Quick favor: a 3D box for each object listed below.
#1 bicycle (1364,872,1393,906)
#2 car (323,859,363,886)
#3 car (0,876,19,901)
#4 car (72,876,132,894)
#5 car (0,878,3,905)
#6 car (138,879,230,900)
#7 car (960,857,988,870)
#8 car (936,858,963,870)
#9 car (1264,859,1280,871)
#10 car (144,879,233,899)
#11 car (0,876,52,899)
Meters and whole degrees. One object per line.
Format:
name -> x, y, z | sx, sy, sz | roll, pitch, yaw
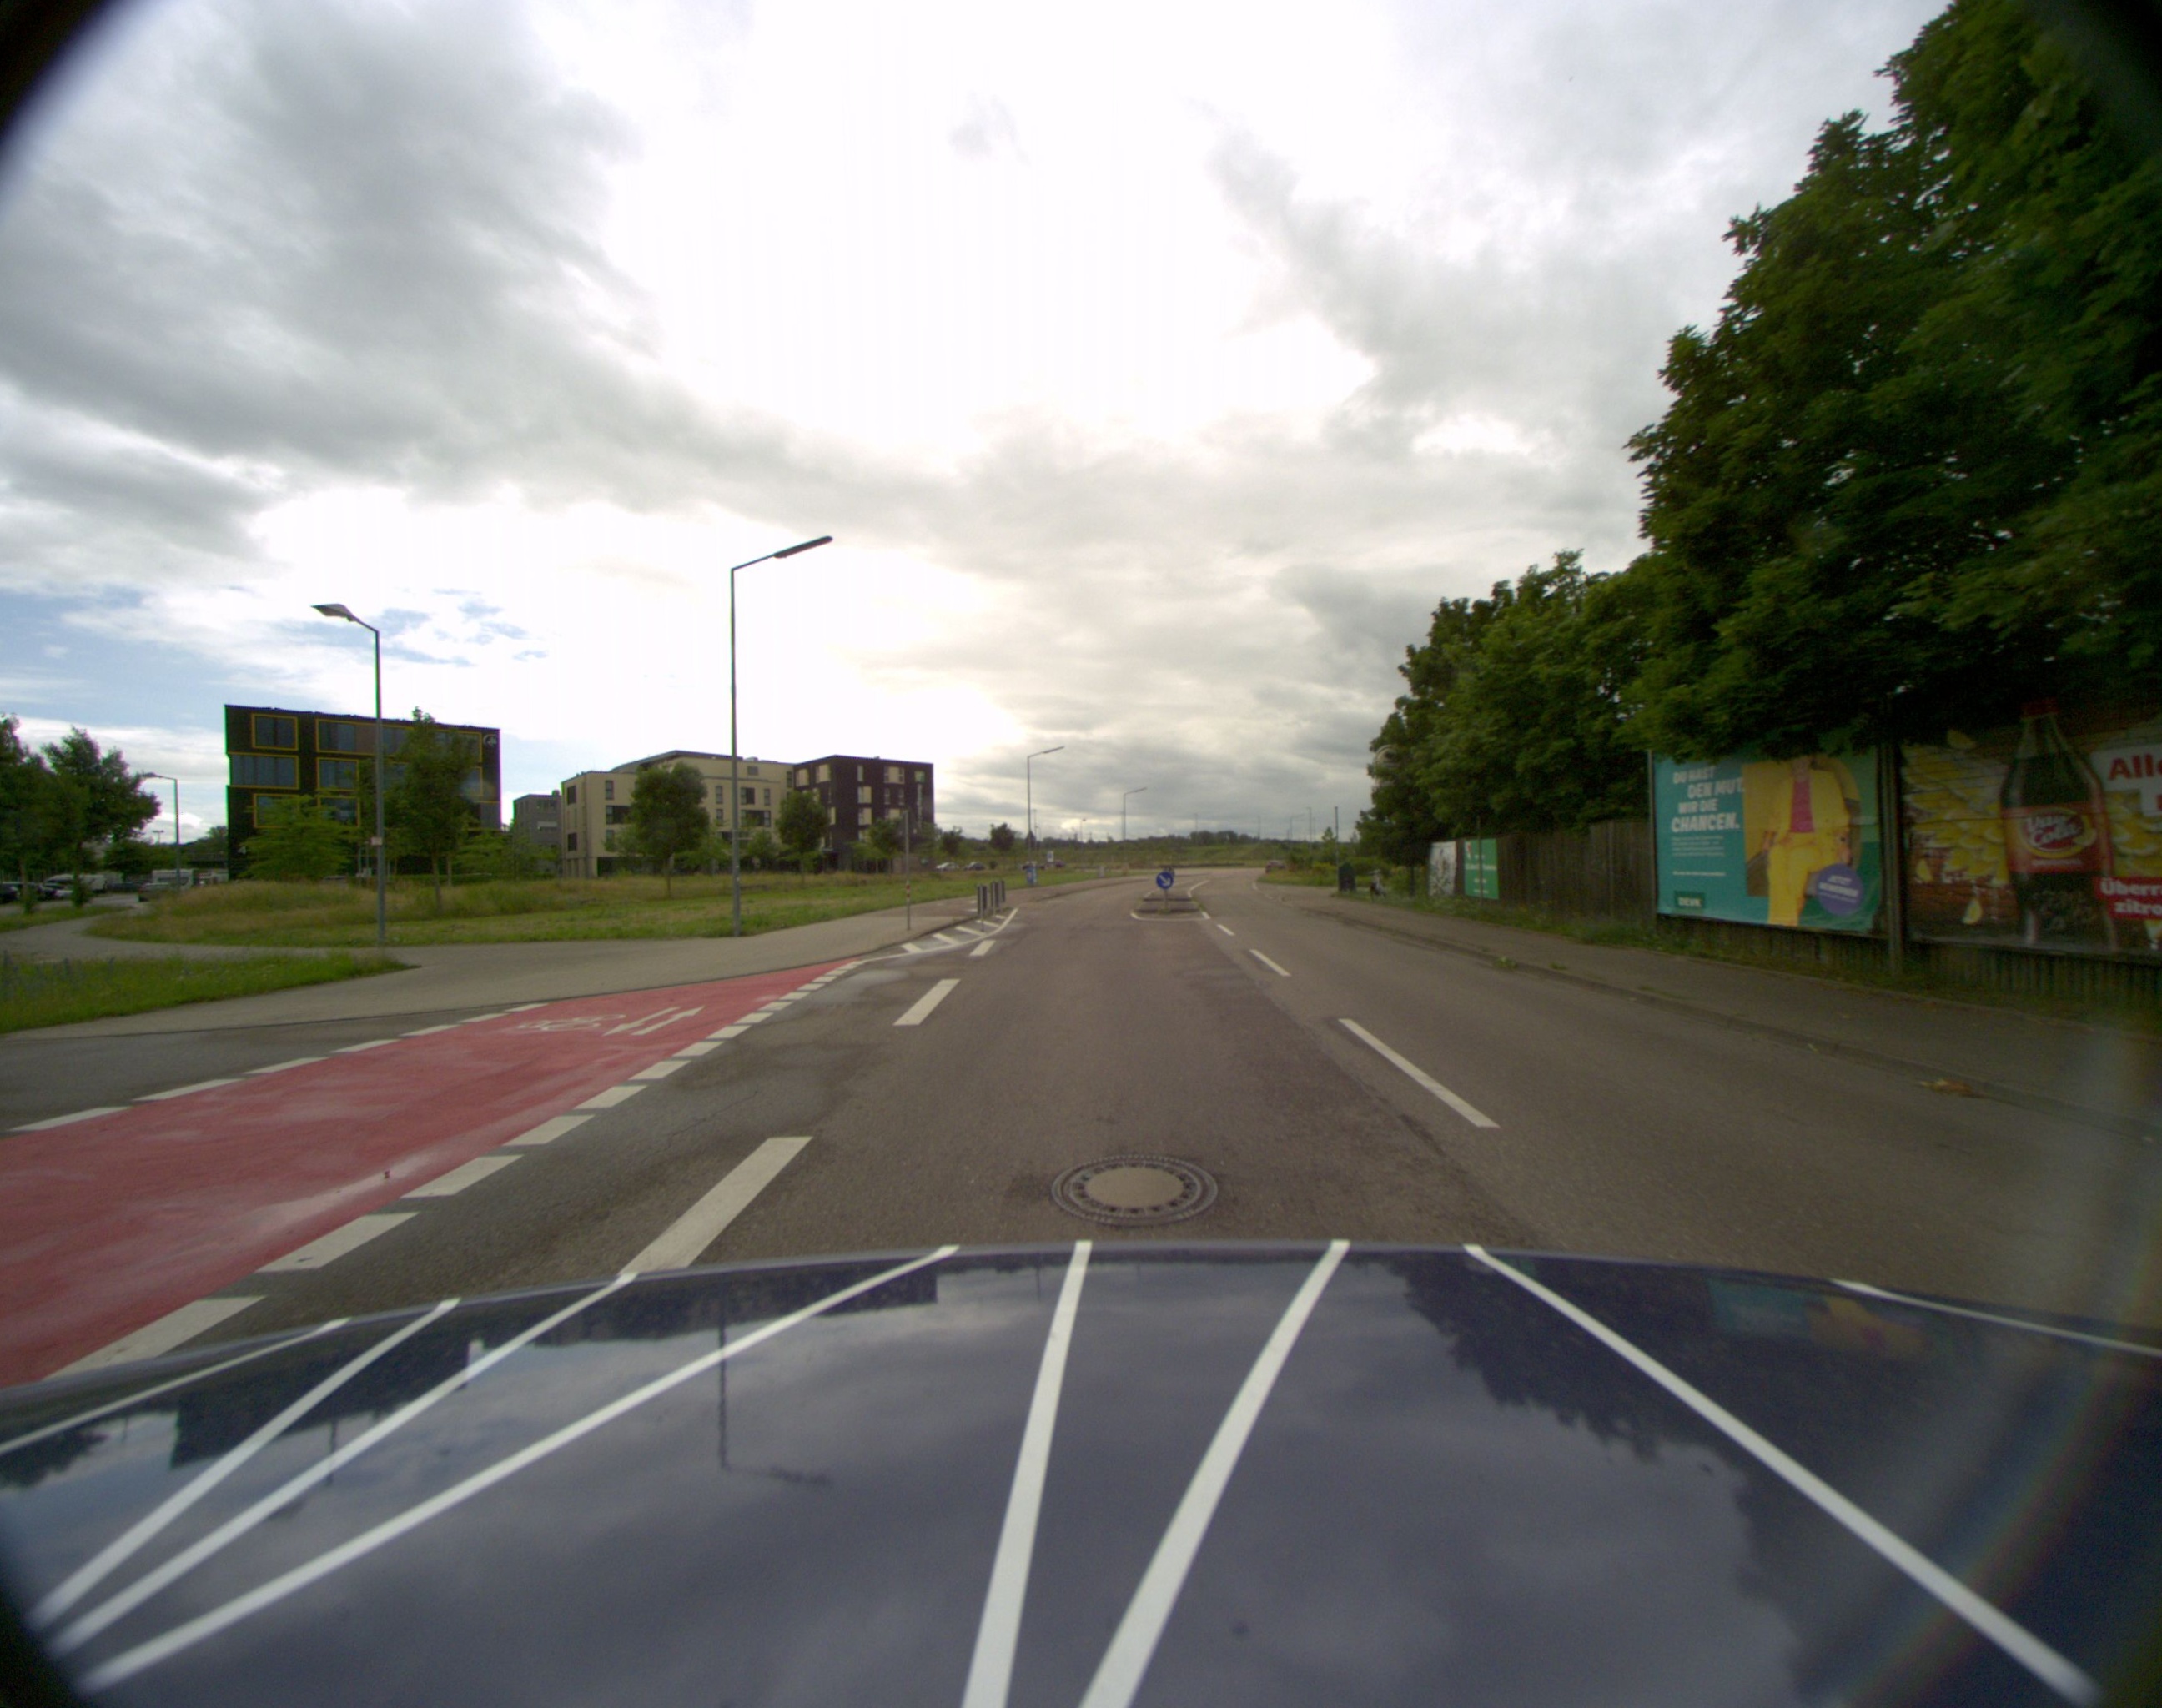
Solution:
bicycle -> 10.024, 1.164, 25.591 | 0.582, 0.992, 1.773 | -4, -1, 30
car -> -58.773, 1.467, 60.499 | 3.989, 2.002, 2.004 | -1, 0, 42
car -> -88.240, 2.828, 60.563 | 1.994, 2.002, 4.008 | -1, 0, 40
car -> -112.135, 3.528, 87.062 | 1.994, 2.002, 4.008 | -1, 0, 43
car -> -82.532, 2.855, 55.604 | 1.994, 2.002, 4.008 | -1, 0, 40
car -> -63.408, 2.480, 53.797 | 4.008, 1.324, 1.559 | -1, 0, -41
car -> -17.150, 1.582, 122.255 | 1.994, 2.002, 4.008 | -1, 0, 44
car -> -22.112, 1.711, 127.794 | 1.994, 2.002, 4.008 | -1, 0, 44
car -> 23.742, 1.337, 94.493 | 1.741, 1.444, 4.004 | -1, 0, 13
car -> -65.155, 2.545, 55.546 | 4.008, 1.324, 1.559 | -1, 0, -41
car -> -95.025, 2.990, 67.565 | 1.994, 2.002, 4.008 | -1, 0, 40
